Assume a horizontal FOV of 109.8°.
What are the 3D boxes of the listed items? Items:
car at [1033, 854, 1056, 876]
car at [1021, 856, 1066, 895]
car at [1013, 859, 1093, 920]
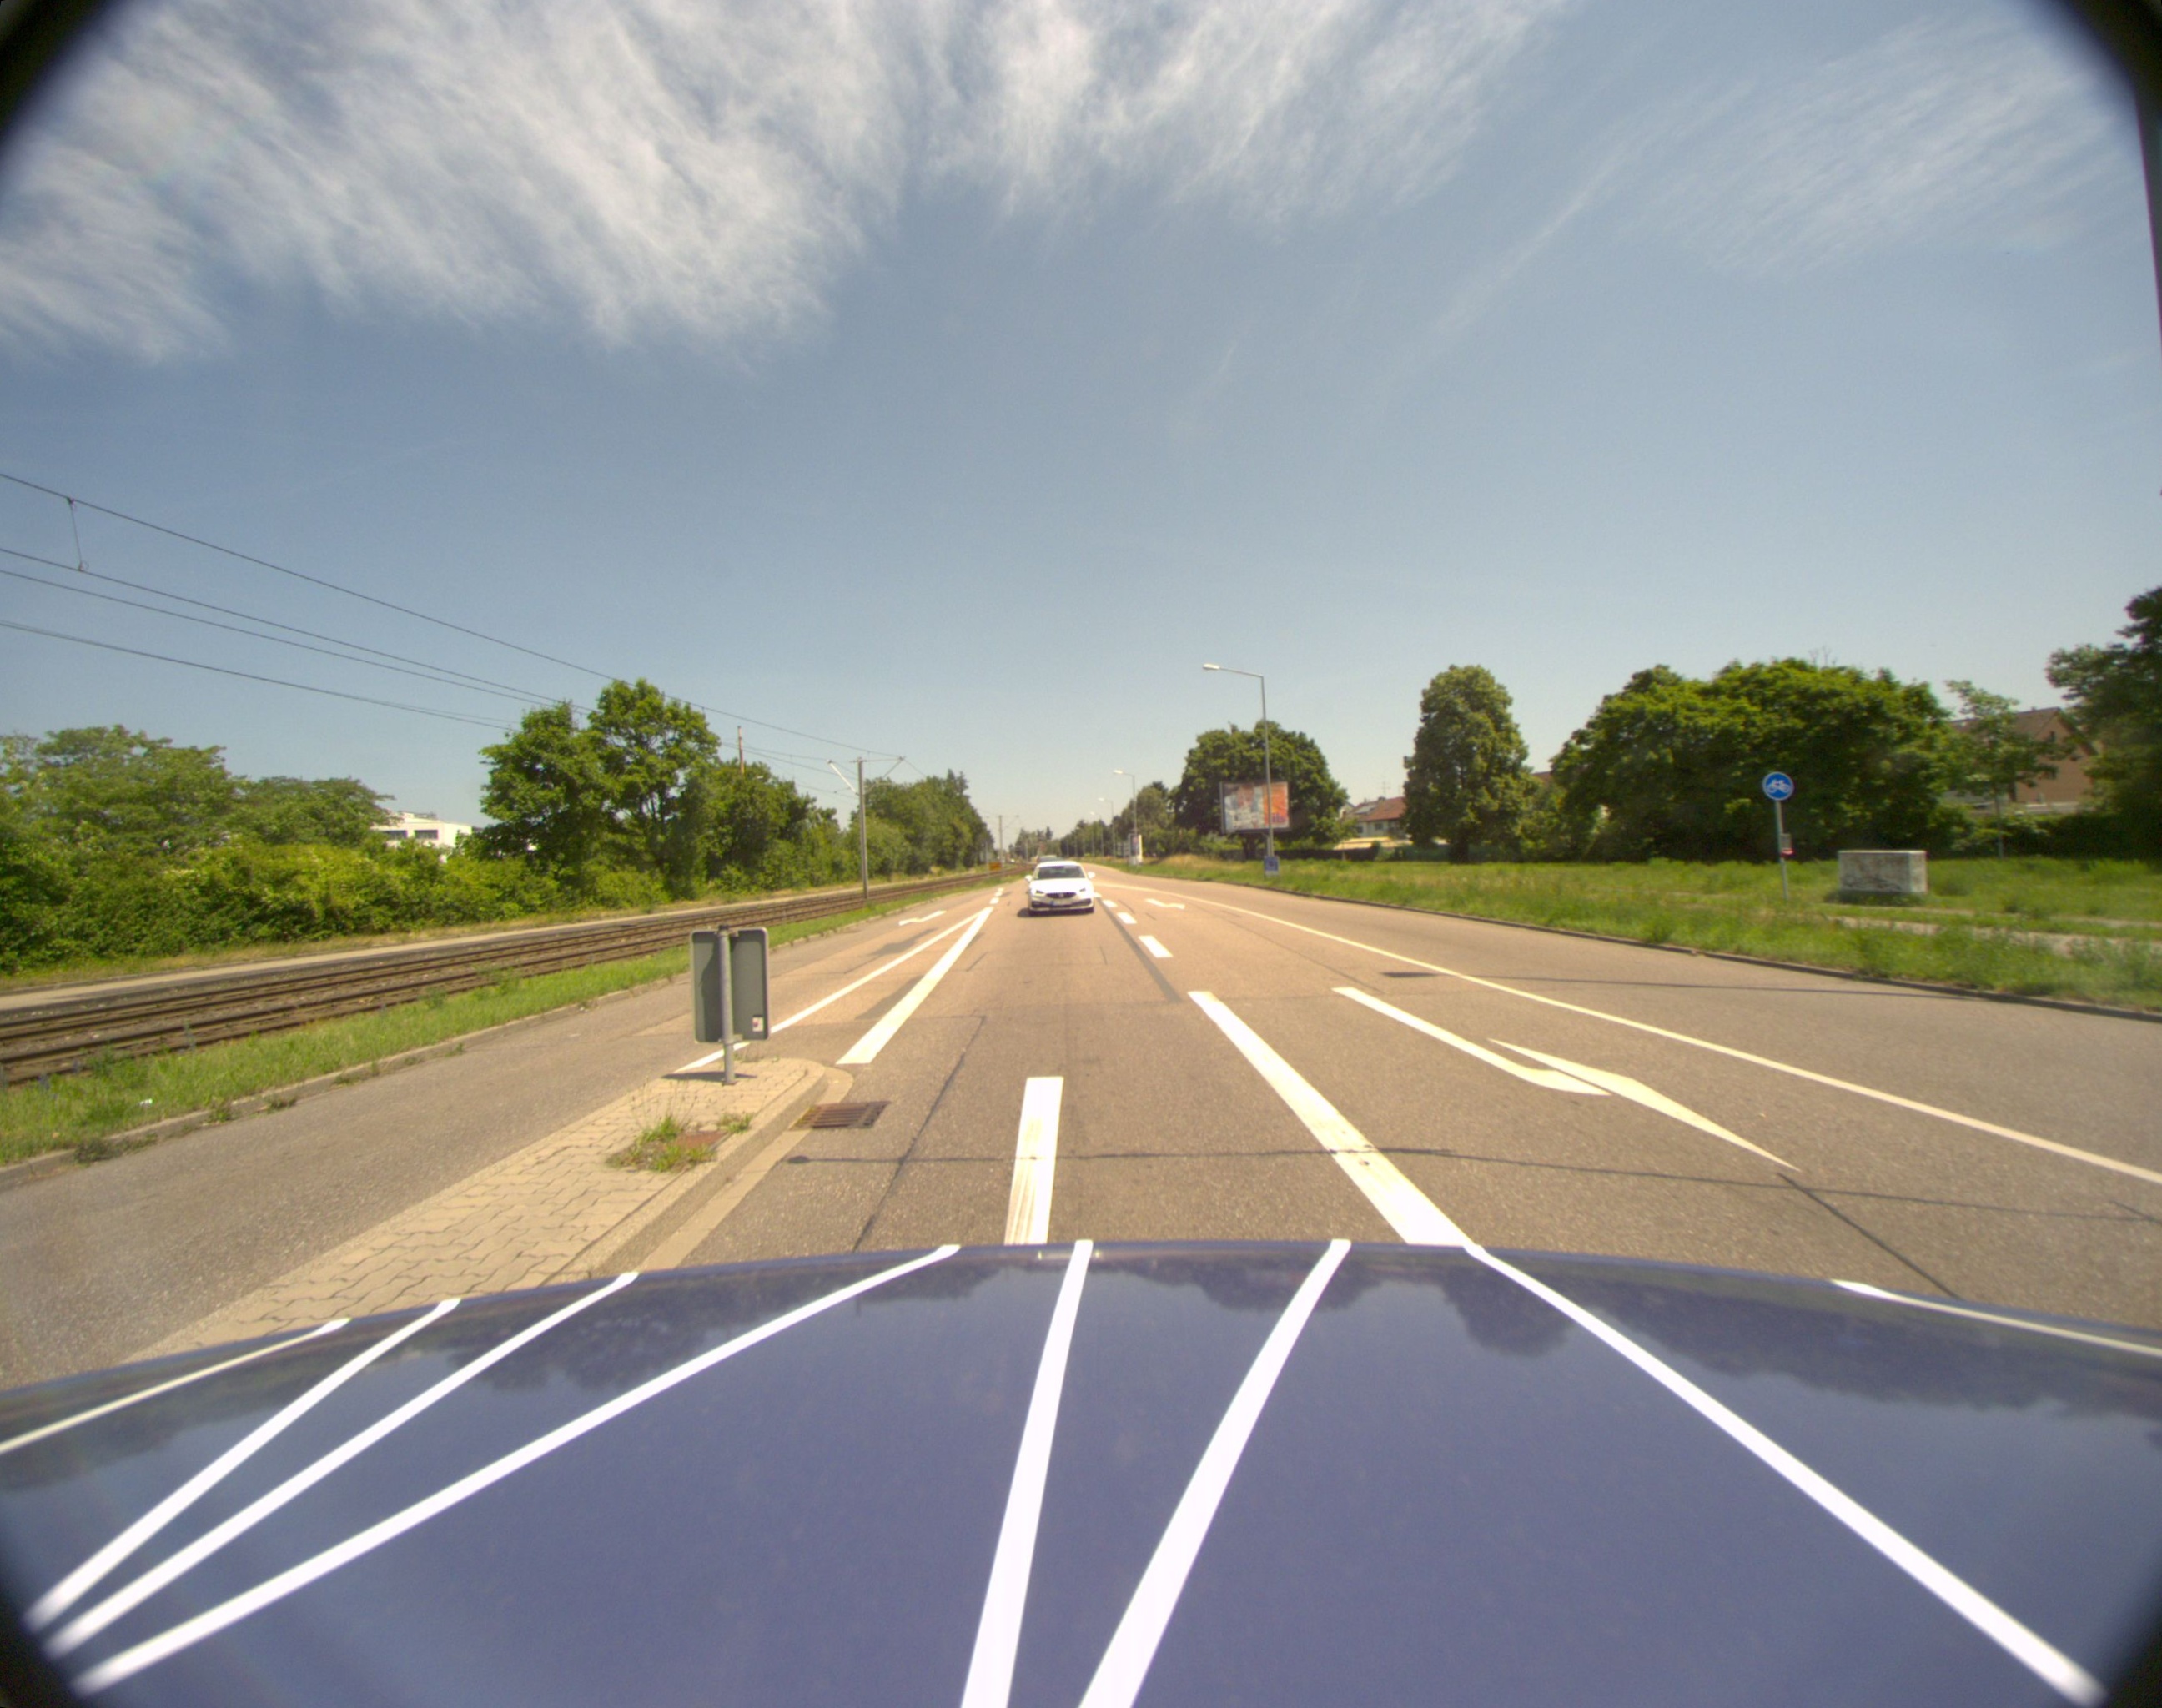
[{"bbox_3d":[-3.320,0.970,69.145,1.780,1.865,4.000,-2,0,1],"label":"car"},{"bbox_3d":[-1.700,0.969,35.591,1.780,1.628,4.000,-2,0,1],"label":"car"},{"bbox_3d":[-0.704,0.950,22.092,1.954,1.467,4.362,-3,0,2],"label":"car"}]
